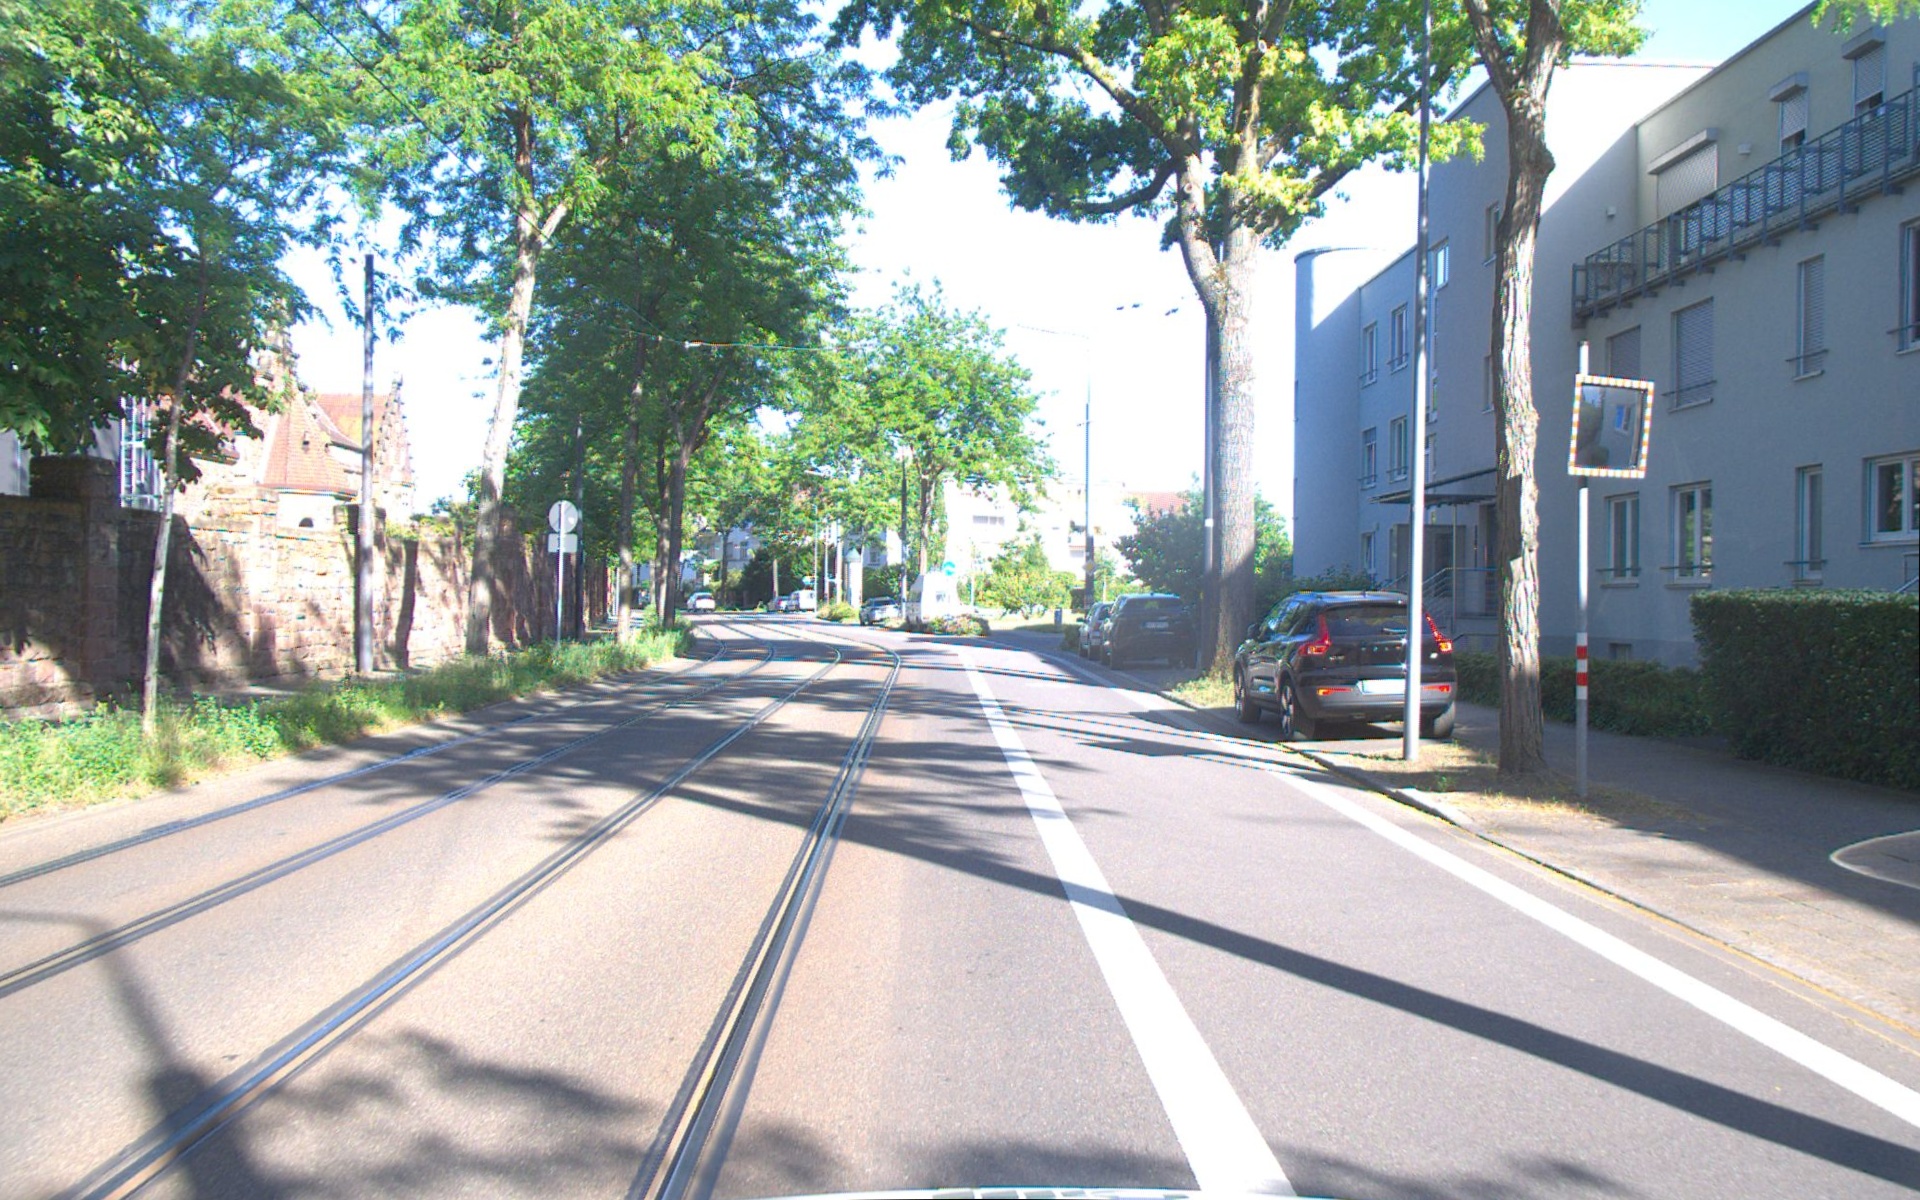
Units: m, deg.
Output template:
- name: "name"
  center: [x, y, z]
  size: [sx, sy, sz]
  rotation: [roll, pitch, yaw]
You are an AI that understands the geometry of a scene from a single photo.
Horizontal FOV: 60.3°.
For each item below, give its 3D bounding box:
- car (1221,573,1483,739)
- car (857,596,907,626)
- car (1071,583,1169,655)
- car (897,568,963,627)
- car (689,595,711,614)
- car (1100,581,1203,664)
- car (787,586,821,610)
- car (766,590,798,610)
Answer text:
- name: "car"
  center: [4.533, 0.587, 19.848]
  size: [1.962, 1.704, 4.391]
  rotation: [-2, 0, -1]
- name: "car"
  center: [-4.293, 0.590, 90.814]
  size: [1.968, 1.588, 4.377]
  rotation: [0, 0, -13]
- name: "car"
  center: [4.093, 0.457, 42.947]
  size: [1.962, 1.704, 4.391]
  rotation: [-2, 0, -2]
- name: "car"
  center: [-1.372, -0.121, 72.939]
  size: [1.960, 2.501, 4.492]
  rotation: [0, 0, -14]
- name: "car"
  center: [-23.283, 0.396, 148.174]
  size: [1.832, 1.704, 4.162]
  rotation: [0, 0, -11]
- name: "car"
  center: [4.254, 0.463, 37.315]
  size: [1.961, 1.704, 4.394]
  rotation: [-2, 0, 3]
- name: "car"
  center: [-13.267, -0.189, 140.475]
  size: [1.972, 1.943, 4.369]
  rotation: [-2, 0, -19]
- name: "car"
  center: [-15.751, 0.015, 146.155]
  size: [1.972, 1.704, 4.150]
  rotation: [-2, 0, -19]
